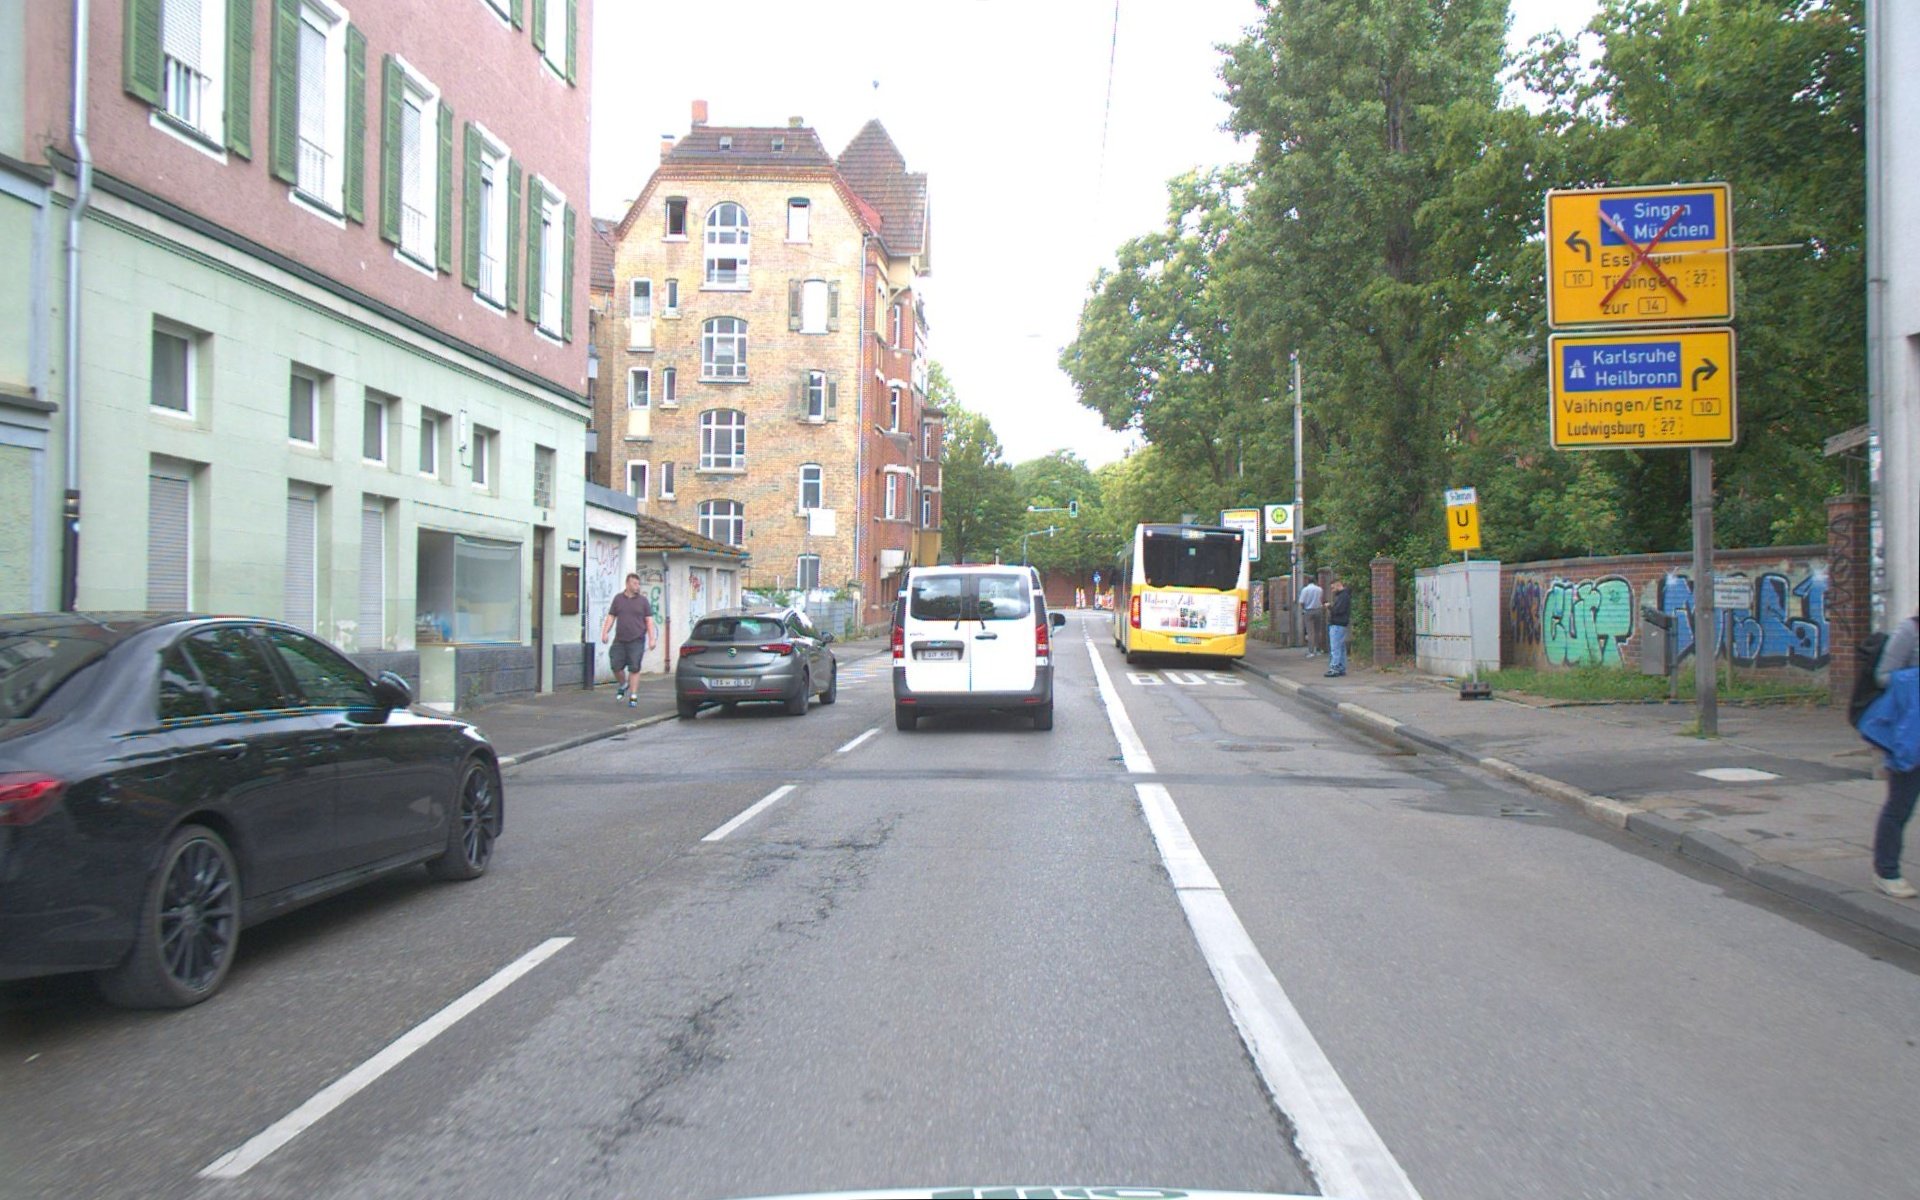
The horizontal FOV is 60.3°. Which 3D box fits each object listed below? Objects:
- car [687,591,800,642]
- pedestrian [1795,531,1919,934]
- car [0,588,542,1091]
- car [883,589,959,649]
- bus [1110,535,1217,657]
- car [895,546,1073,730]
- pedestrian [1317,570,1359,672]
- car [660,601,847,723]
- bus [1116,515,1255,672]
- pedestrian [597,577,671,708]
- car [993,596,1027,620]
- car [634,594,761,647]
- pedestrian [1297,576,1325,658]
[{"bbox_3d":[-7.359,0.547,56.507,3.520,1.640,1.689,-1,-1,4],"label":"car"},{"bbox_3d":[4.693,0.580,7.980,0.787,1.825,0.942,-2,1,-2],"label":"pedestrian"},{"bbox_3d":[-3.537,0.744,7.387,1.790,1.480,4.923,0,-1,4],"label":"car"},{"bbox_3d":[-1.164,0.551,51.204,1.913,1.764,4.776,0,0,4],"label":"car"},{"bbox_3d":[5.916,-0.097,49.346,2.616,3.193,9.222,2,0,4],"label":"bus"},{"bbox_3d":[0.333,0.504,20.554,1.878,1.935,4.701,3,-2,2],"label":"car"},{"bbox_3d":[6.887,0.378,30.177,0.570,1.810,0.821,2,-1,4],"label":"pedestrian"},{"bbox_3d":[-2.837,0.803,23.591,1.839,1.512,4.129,2,0,4],"label":"car"},{"bbox_3d":[5.199,-0.131,39.736,2.607,3.191,10.045,2,0,4],"label":"bus"},{"bbox_3d":[-4.594,0.596,23.368,0.745,1.774,0.985,2,-1,1],"label":"pedestrian"},{"bbox_3d":[3.584,0.563,118.291,1.996,1.511,4.387,1,2,-4],"label":"car"},{"bbox_3d":[-8.091,0.627,51.255,3.520,1.531,1.854,-1,-1,4],"label":"car"},{"bbox_3d":[7.882,0.379,37.134,0.441,1.810,0.672,-3,-1,4],"label":"pedestrian"}]
